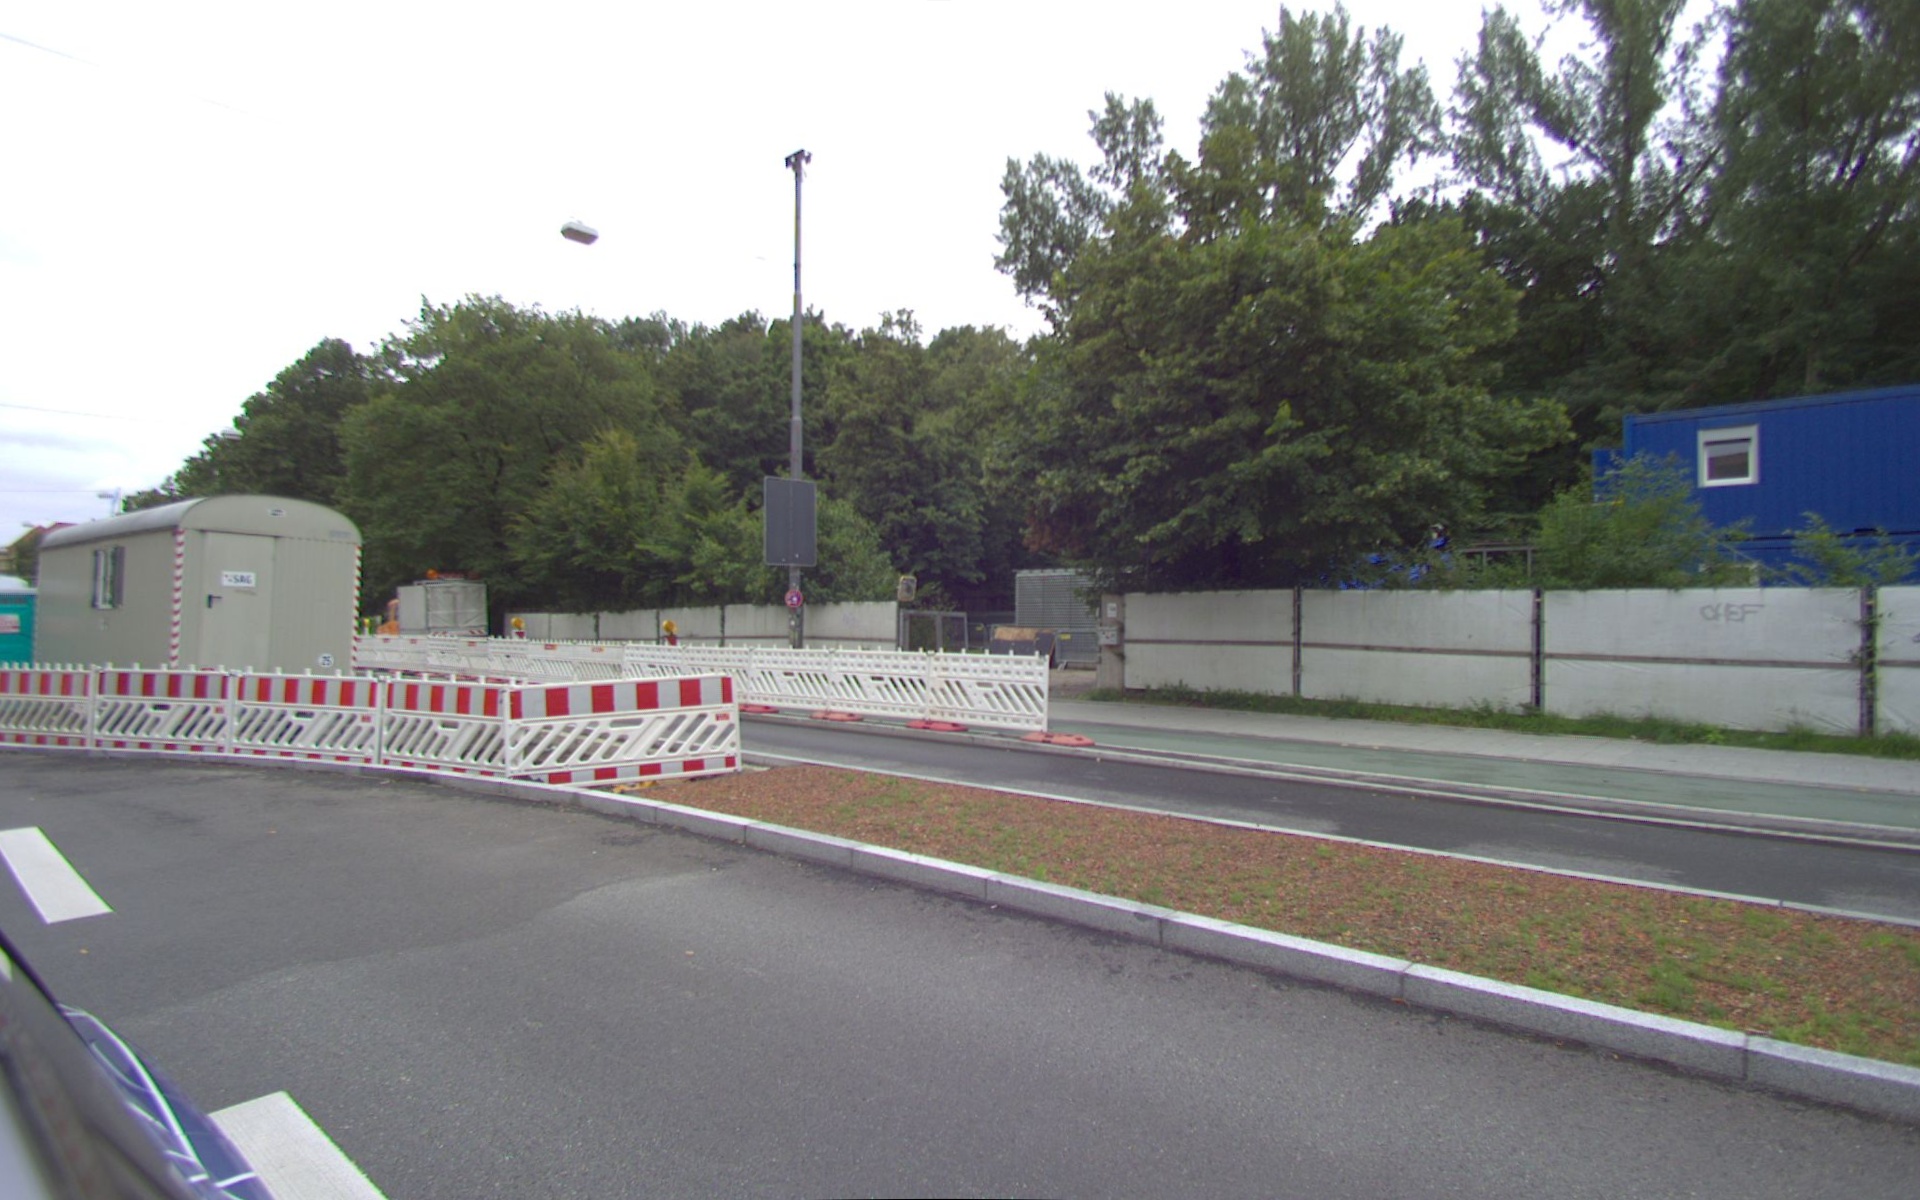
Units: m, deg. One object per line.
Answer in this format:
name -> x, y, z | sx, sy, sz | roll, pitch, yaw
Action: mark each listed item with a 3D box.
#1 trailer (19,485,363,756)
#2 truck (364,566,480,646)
trailer -> -11.906, 0.343, 15.375 | 7.506, 3.268, 2.206 | -1, -2, 37
truck -> -20.068, 0.301, 37.627 | 5.869, 2.749, 1.972 | -2, -2, 43
